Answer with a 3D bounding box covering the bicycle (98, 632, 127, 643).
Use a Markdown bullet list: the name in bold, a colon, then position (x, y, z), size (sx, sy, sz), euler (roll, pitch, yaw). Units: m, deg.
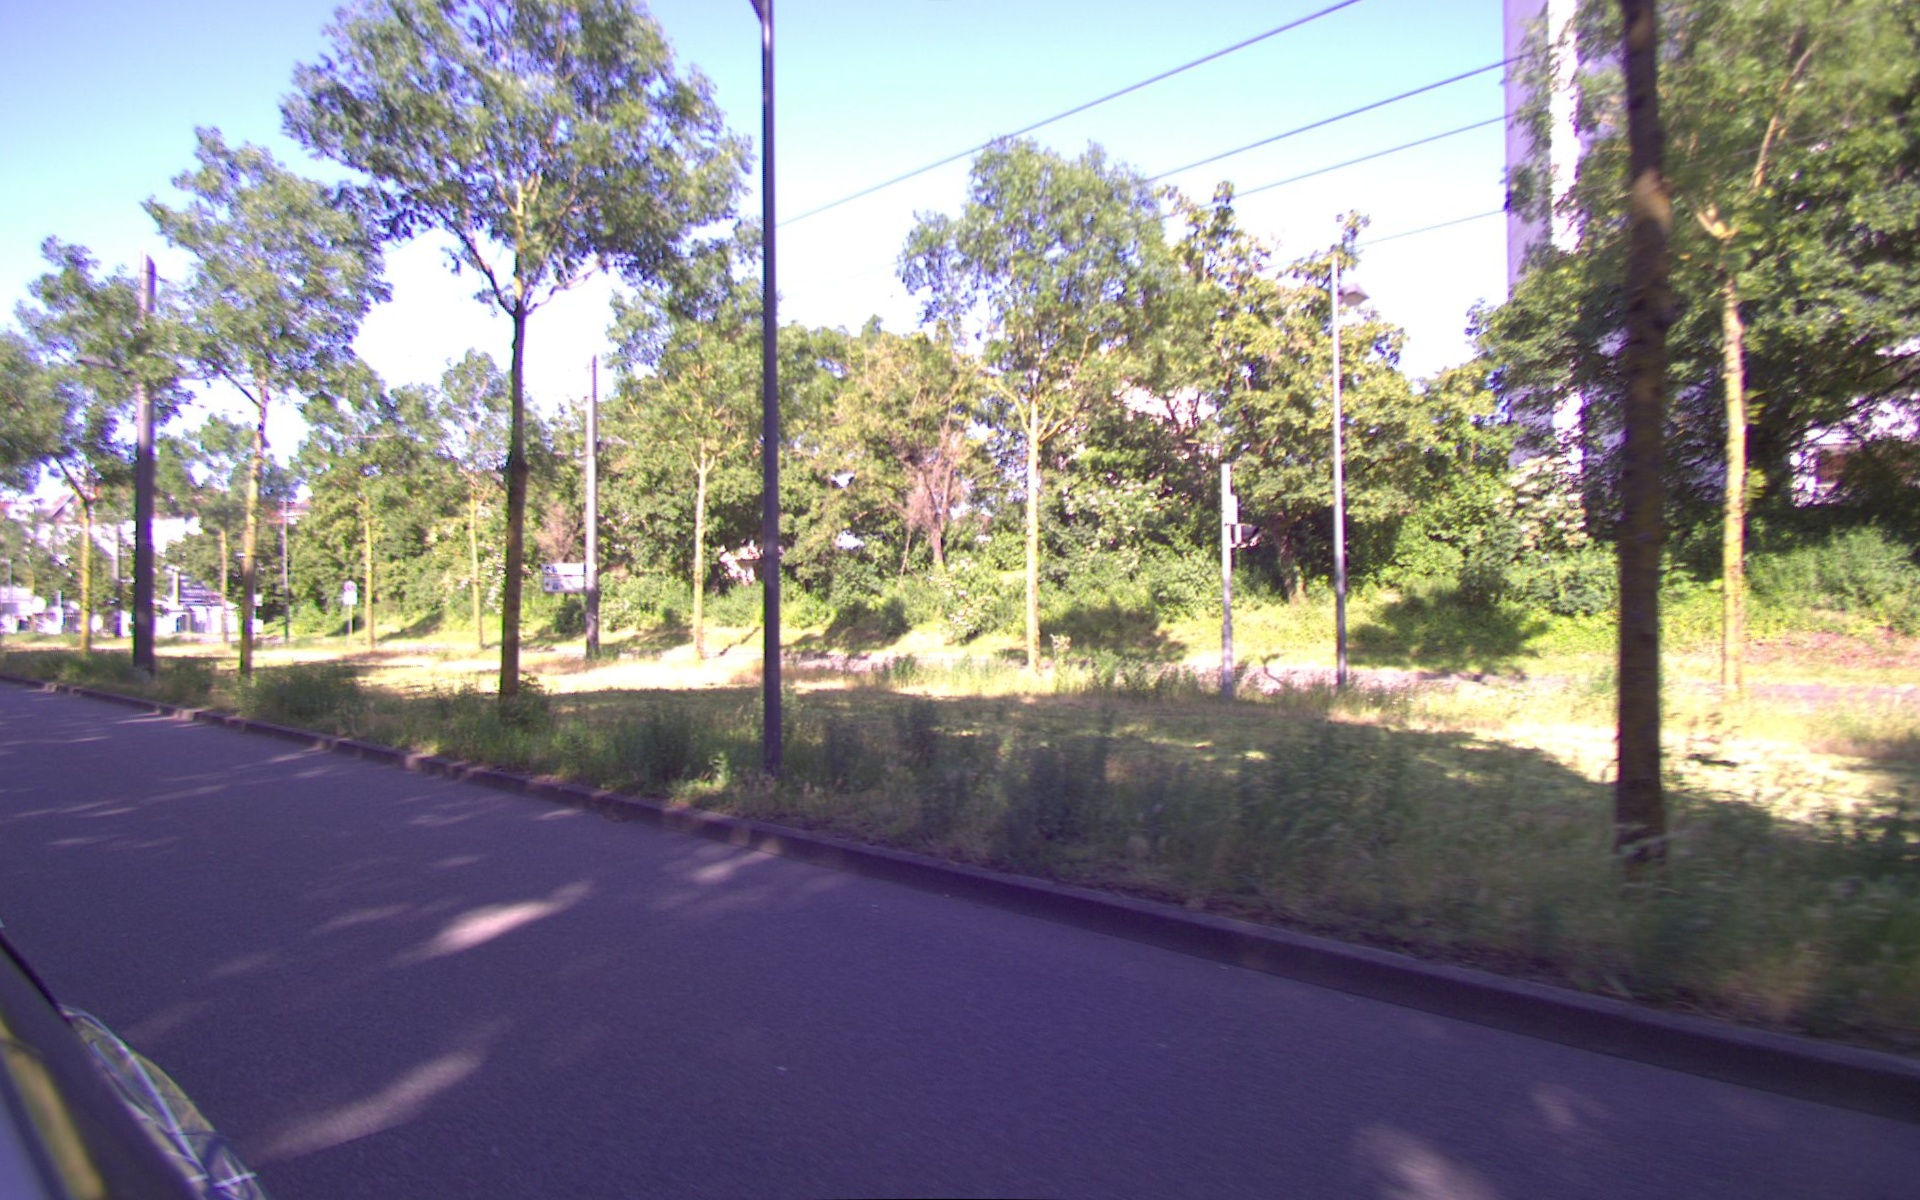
- **bicycle**: position (-98.581, 4.307, 117.677), size (0.715, 1.222, 2.532), euler (-2, -2, 23)
